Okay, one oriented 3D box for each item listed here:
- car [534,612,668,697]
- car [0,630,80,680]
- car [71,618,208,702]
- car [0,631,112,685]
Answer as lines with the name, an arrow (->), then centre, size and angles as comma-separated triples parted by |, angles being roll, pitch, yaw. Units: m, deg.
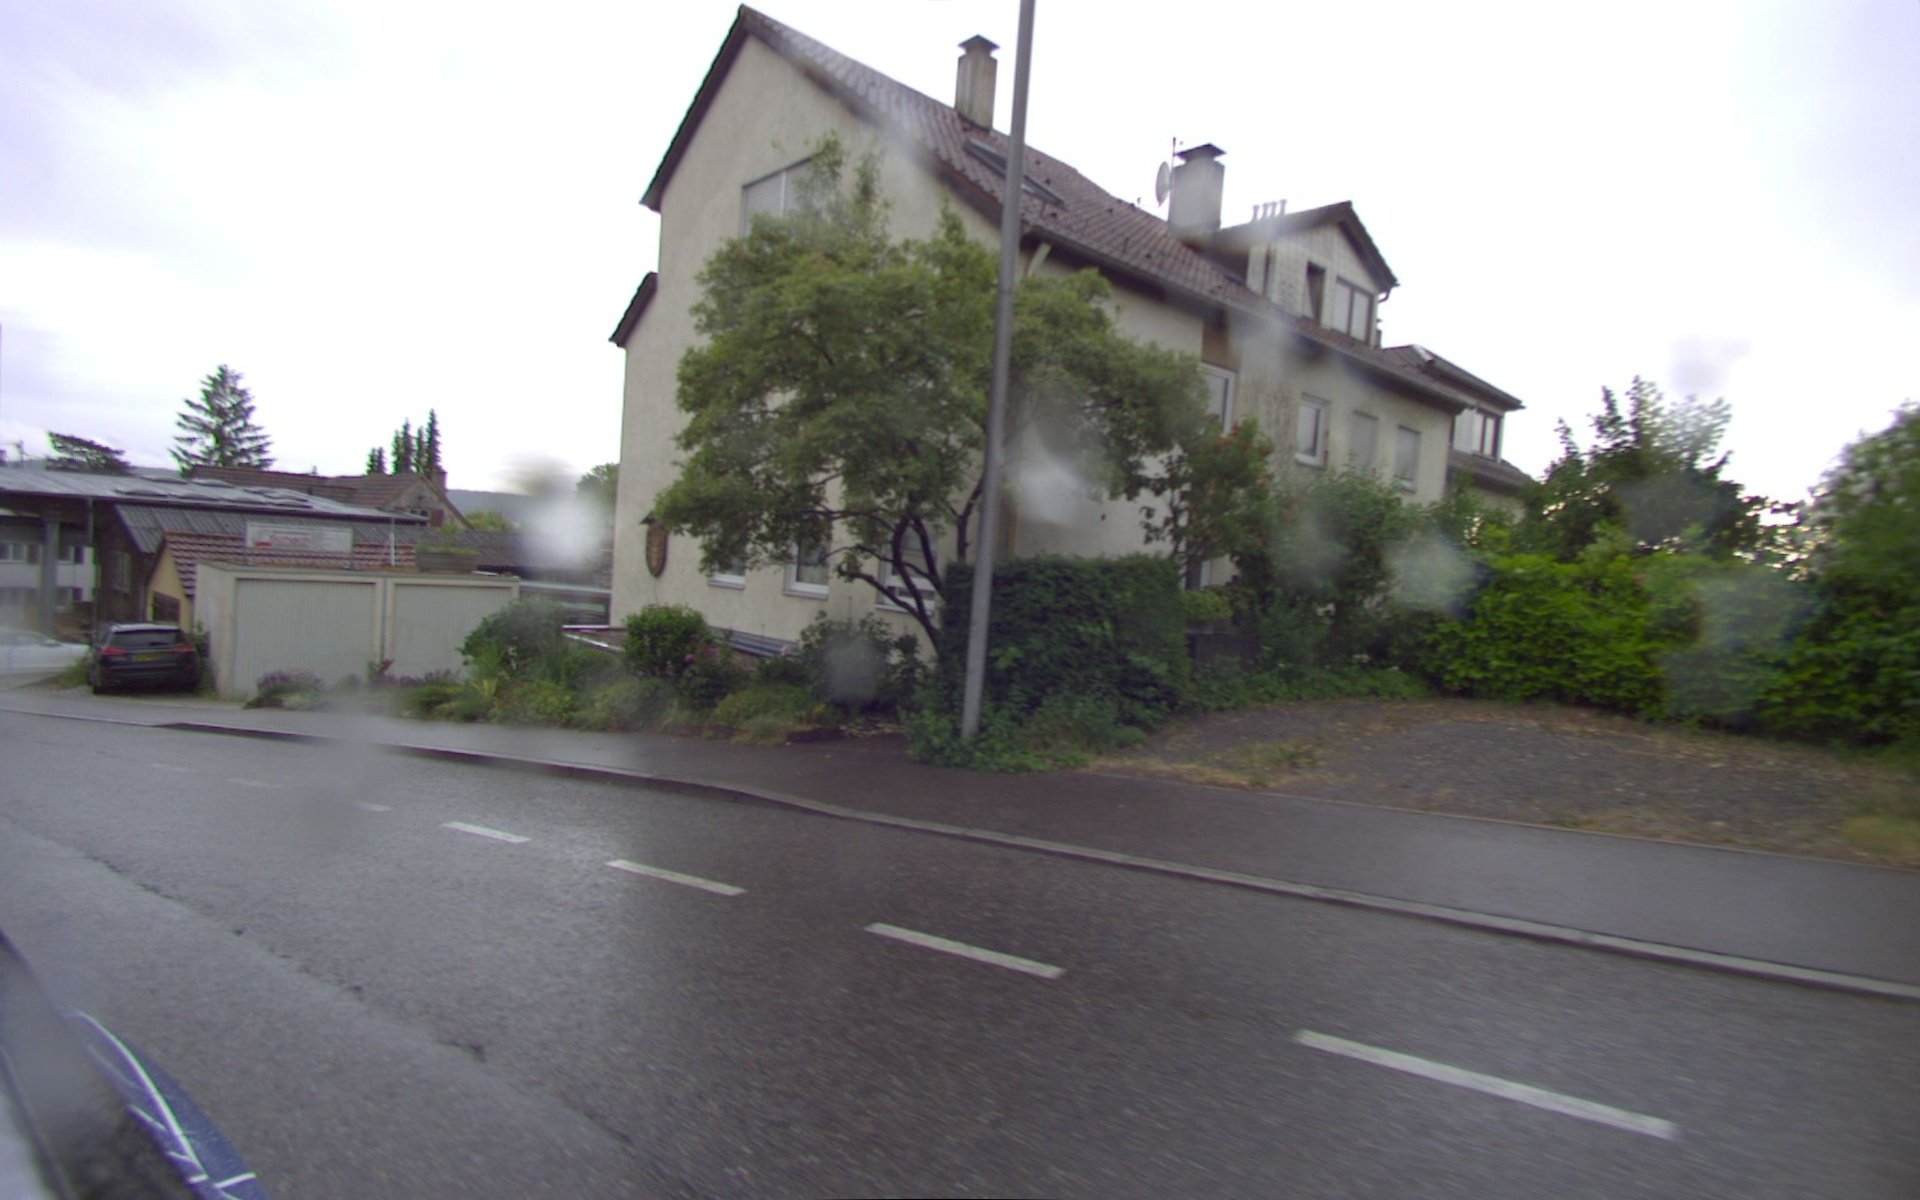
car -> -10.291, 1.511, 28.848 | 1.944, 2.016, 4.113 | 5, -1, -44
car -> -30.519, 1.730, 32.013 | 3.936, 1.516, 1.904 | 0, -2, -38
car -> -18.331, 1.246, 22.514 | 1.951, 1.672, 4.966 | 1, -2, -44
car -> -28.036, 1.689, 29.876 | 1.901, 1.516, 4.445 | -2, -2, 44
